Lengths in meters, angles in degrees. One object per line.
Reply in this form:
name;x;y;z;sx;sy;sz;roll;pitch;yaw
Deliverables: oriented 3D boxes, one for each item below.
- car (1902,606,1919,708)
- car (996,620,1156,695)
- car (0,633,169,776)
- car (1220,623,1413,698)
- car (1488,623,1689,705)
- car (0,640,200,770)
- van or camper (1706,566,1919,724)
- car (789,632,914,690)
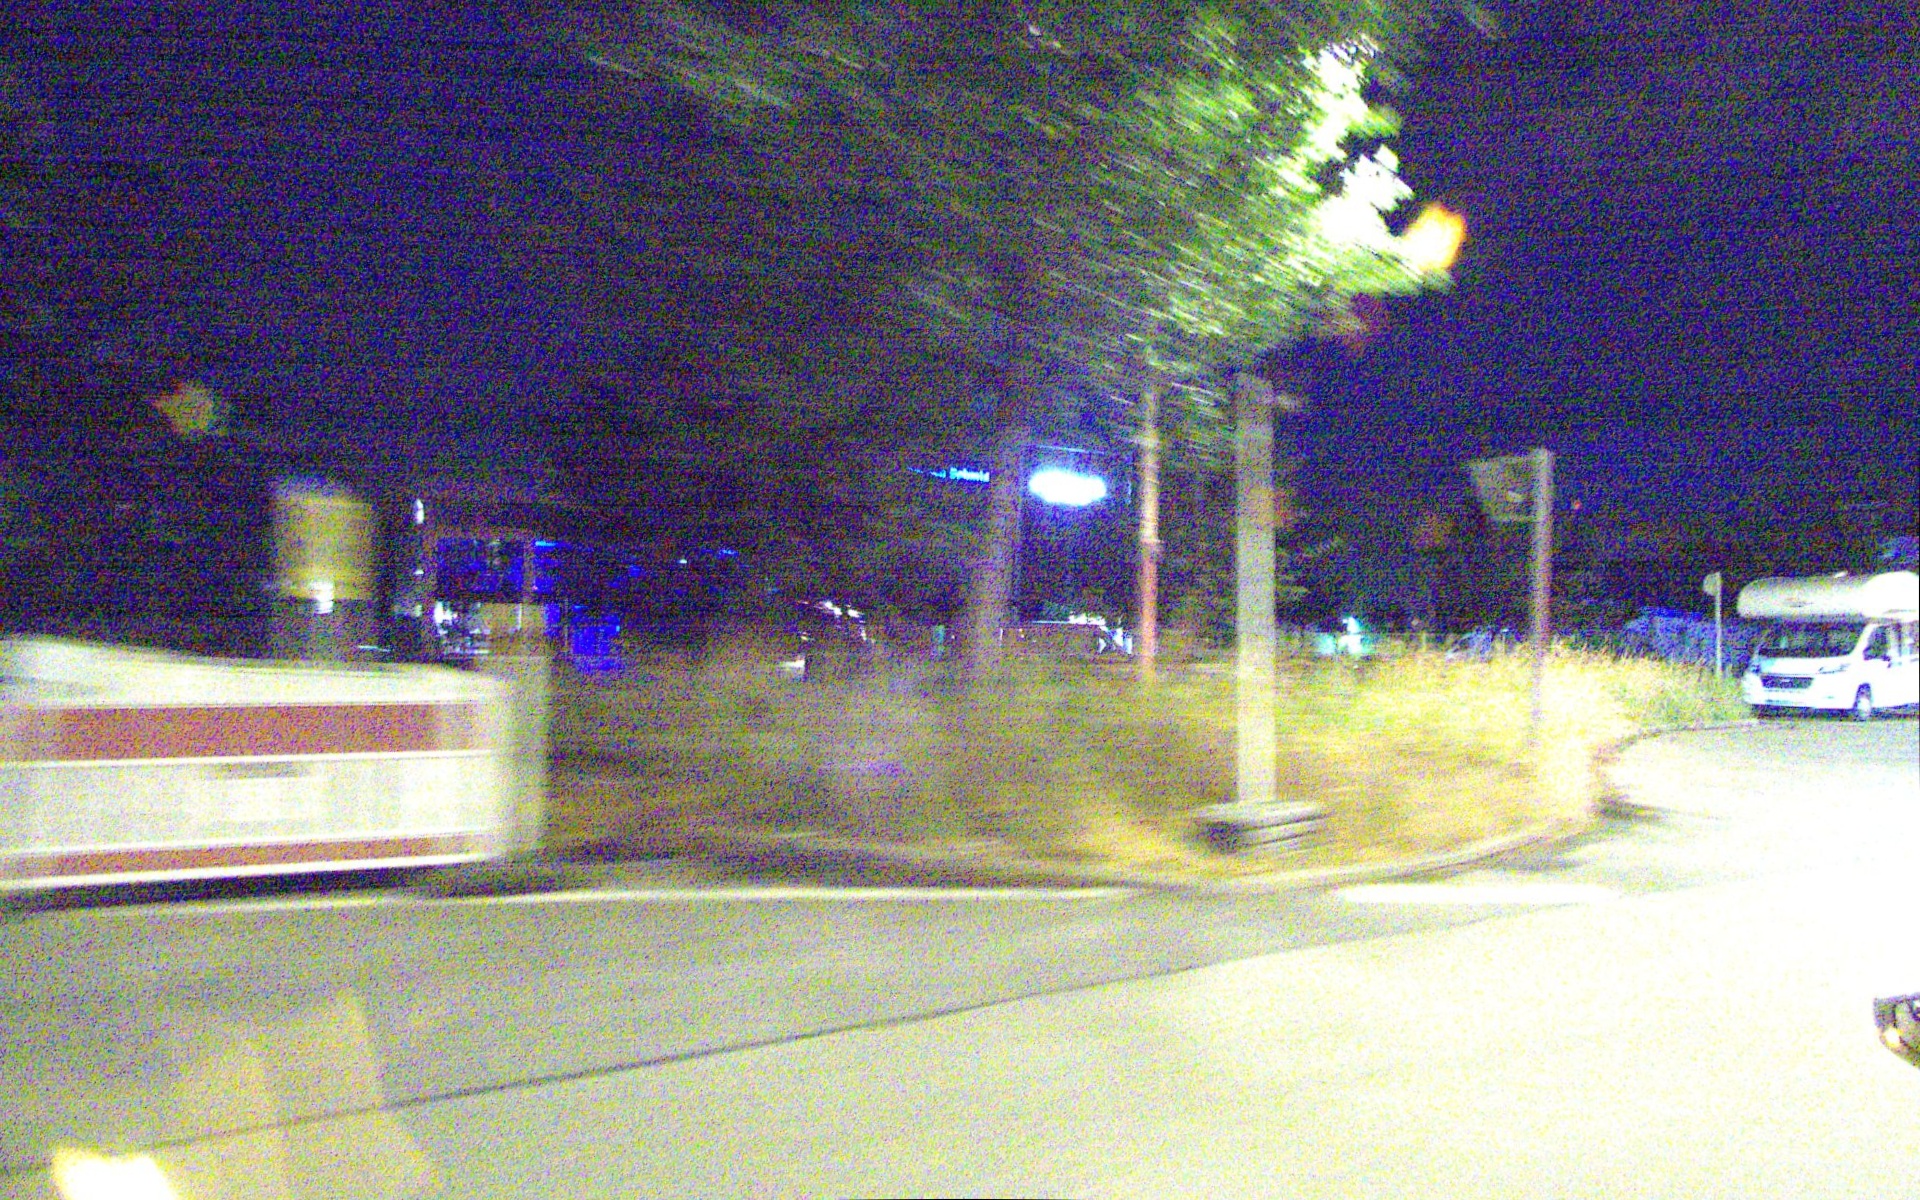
car;28.466;1.569;26.894;7.000;2.640;2.510;2;-2;-27
car;4.299;2.129;37.902;5.763;2.589;2.000;1;1;-1
car;-18.574;1.995;19.665;4.417;2.589;1.990;1;1;-22
car;13.420;2.258;38.056;6.549;2.589;2.000;1;1;-1
car;24.354;2.446;39.061;6.549;2.880;2.000;1;1;-1
car;-19.636;2.217;21.937;4.417;2.589;1.990;1;1;-22
van or camper;20.421;1.044;22.696;7.343;3.135;2.512;2;-2;-25
car;-3.971;2.233;37.274;4.395;1.909;2.000;1;1;-1
